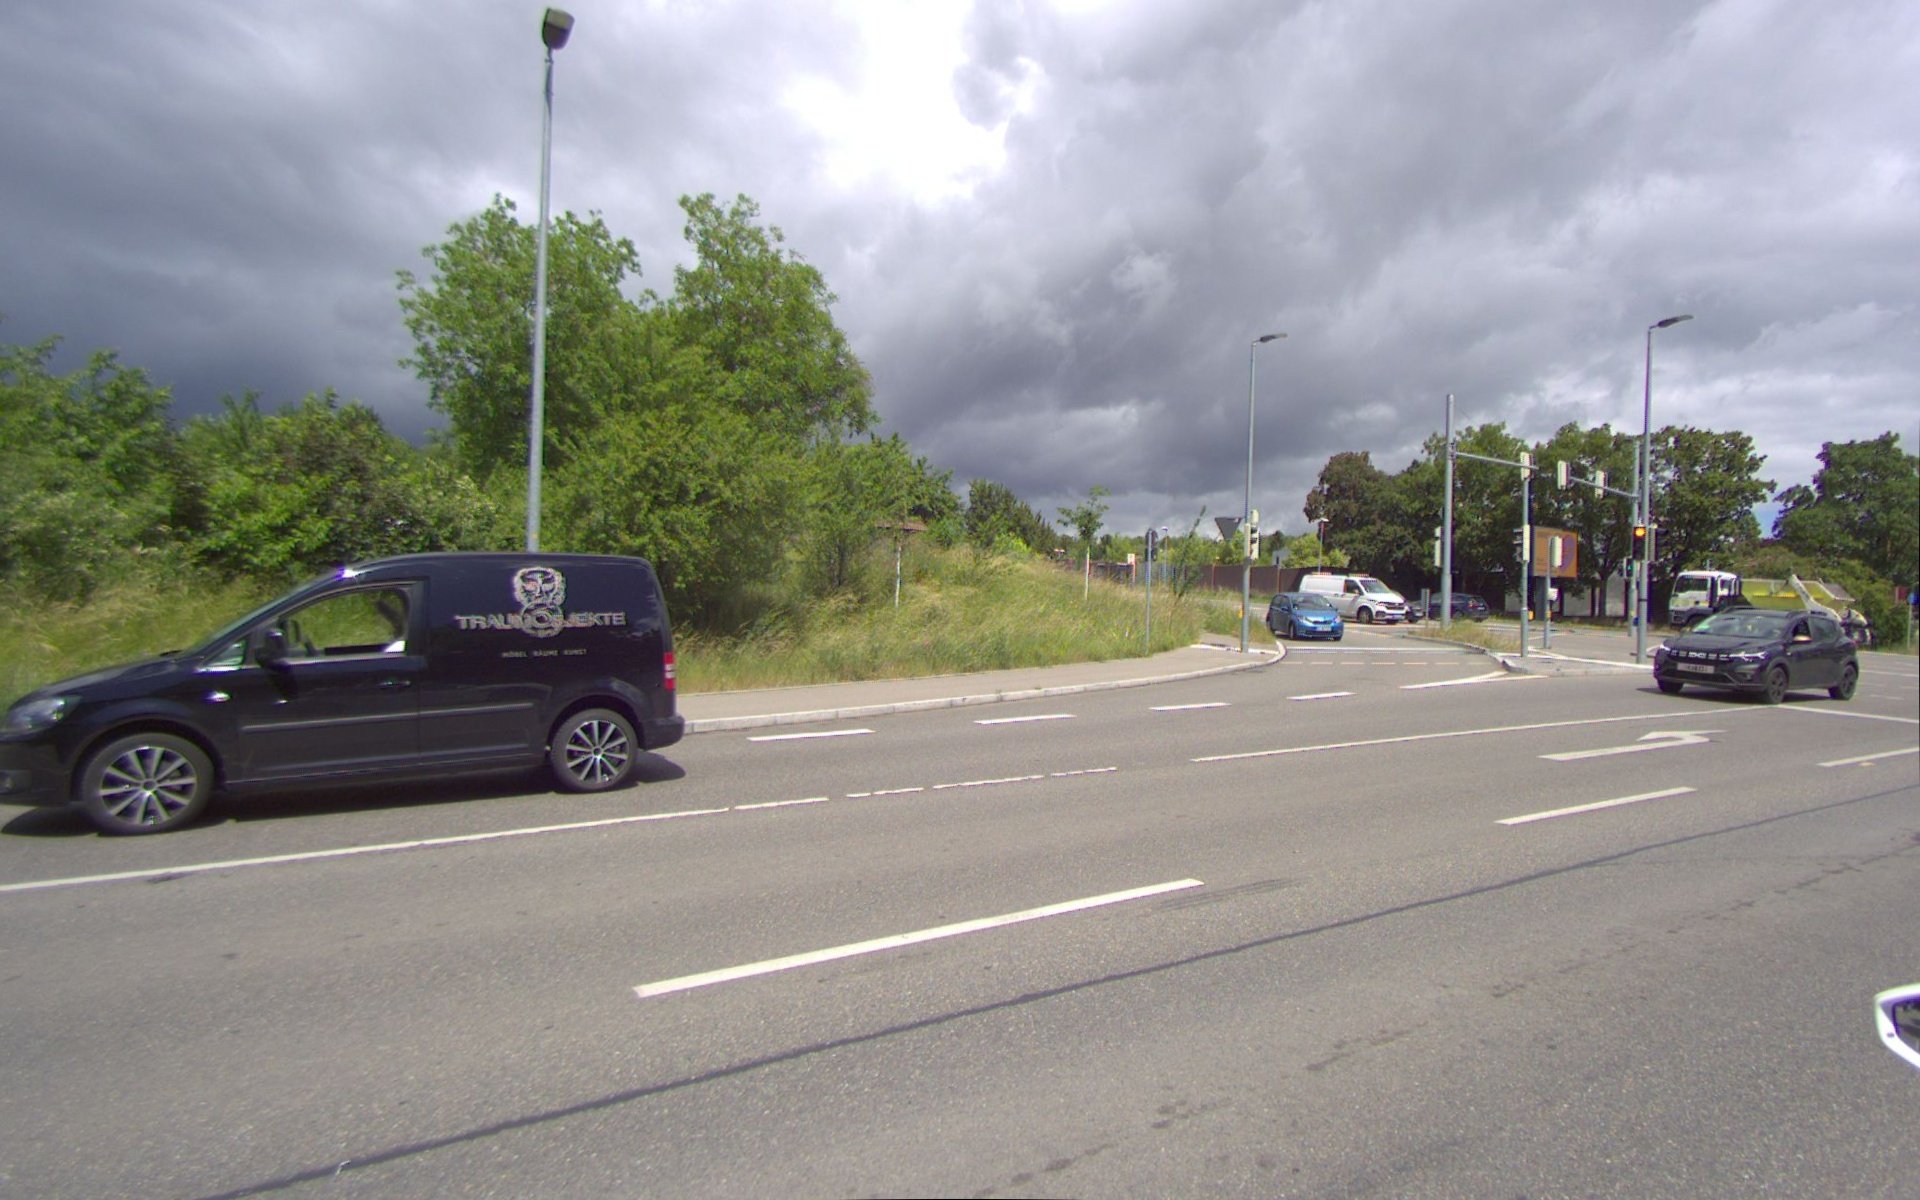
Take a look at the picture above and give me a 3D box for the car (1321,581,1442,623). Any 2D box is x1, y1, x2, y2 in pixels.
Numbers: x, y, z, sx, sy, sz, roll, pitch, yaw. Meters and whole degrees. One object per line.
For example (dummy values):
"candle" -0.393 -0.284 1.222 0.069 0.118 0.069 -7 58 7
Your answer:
"car" 19.315 0.067 46.272 1.889 1.657 4.929 1 2 -30

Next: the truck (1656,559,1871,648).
"truck" 35.447 0.299 44.638 2.812 3.625 6.917 2 -3 -28

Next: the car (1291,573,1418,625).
"car" 16.917 -0.094 43.331 1.889 1.963 4.929 1 2 -30

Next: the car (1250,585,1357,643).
"car" 11.462 0.422 33.880 1.874 1.659 4.446 2 2 -2

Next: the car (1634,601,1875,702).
"car" 14.102 0.868 17.810 4.110 1.599 1.778 1 0 -27

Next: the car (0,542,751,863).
"car" -4.143 0.554 7.530 4.760 1.802 1.774 0 1 -34

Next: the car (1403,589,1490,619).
"car" 26.171 0.204 54.167 1.676 1.419 3.970 2 1 -28
